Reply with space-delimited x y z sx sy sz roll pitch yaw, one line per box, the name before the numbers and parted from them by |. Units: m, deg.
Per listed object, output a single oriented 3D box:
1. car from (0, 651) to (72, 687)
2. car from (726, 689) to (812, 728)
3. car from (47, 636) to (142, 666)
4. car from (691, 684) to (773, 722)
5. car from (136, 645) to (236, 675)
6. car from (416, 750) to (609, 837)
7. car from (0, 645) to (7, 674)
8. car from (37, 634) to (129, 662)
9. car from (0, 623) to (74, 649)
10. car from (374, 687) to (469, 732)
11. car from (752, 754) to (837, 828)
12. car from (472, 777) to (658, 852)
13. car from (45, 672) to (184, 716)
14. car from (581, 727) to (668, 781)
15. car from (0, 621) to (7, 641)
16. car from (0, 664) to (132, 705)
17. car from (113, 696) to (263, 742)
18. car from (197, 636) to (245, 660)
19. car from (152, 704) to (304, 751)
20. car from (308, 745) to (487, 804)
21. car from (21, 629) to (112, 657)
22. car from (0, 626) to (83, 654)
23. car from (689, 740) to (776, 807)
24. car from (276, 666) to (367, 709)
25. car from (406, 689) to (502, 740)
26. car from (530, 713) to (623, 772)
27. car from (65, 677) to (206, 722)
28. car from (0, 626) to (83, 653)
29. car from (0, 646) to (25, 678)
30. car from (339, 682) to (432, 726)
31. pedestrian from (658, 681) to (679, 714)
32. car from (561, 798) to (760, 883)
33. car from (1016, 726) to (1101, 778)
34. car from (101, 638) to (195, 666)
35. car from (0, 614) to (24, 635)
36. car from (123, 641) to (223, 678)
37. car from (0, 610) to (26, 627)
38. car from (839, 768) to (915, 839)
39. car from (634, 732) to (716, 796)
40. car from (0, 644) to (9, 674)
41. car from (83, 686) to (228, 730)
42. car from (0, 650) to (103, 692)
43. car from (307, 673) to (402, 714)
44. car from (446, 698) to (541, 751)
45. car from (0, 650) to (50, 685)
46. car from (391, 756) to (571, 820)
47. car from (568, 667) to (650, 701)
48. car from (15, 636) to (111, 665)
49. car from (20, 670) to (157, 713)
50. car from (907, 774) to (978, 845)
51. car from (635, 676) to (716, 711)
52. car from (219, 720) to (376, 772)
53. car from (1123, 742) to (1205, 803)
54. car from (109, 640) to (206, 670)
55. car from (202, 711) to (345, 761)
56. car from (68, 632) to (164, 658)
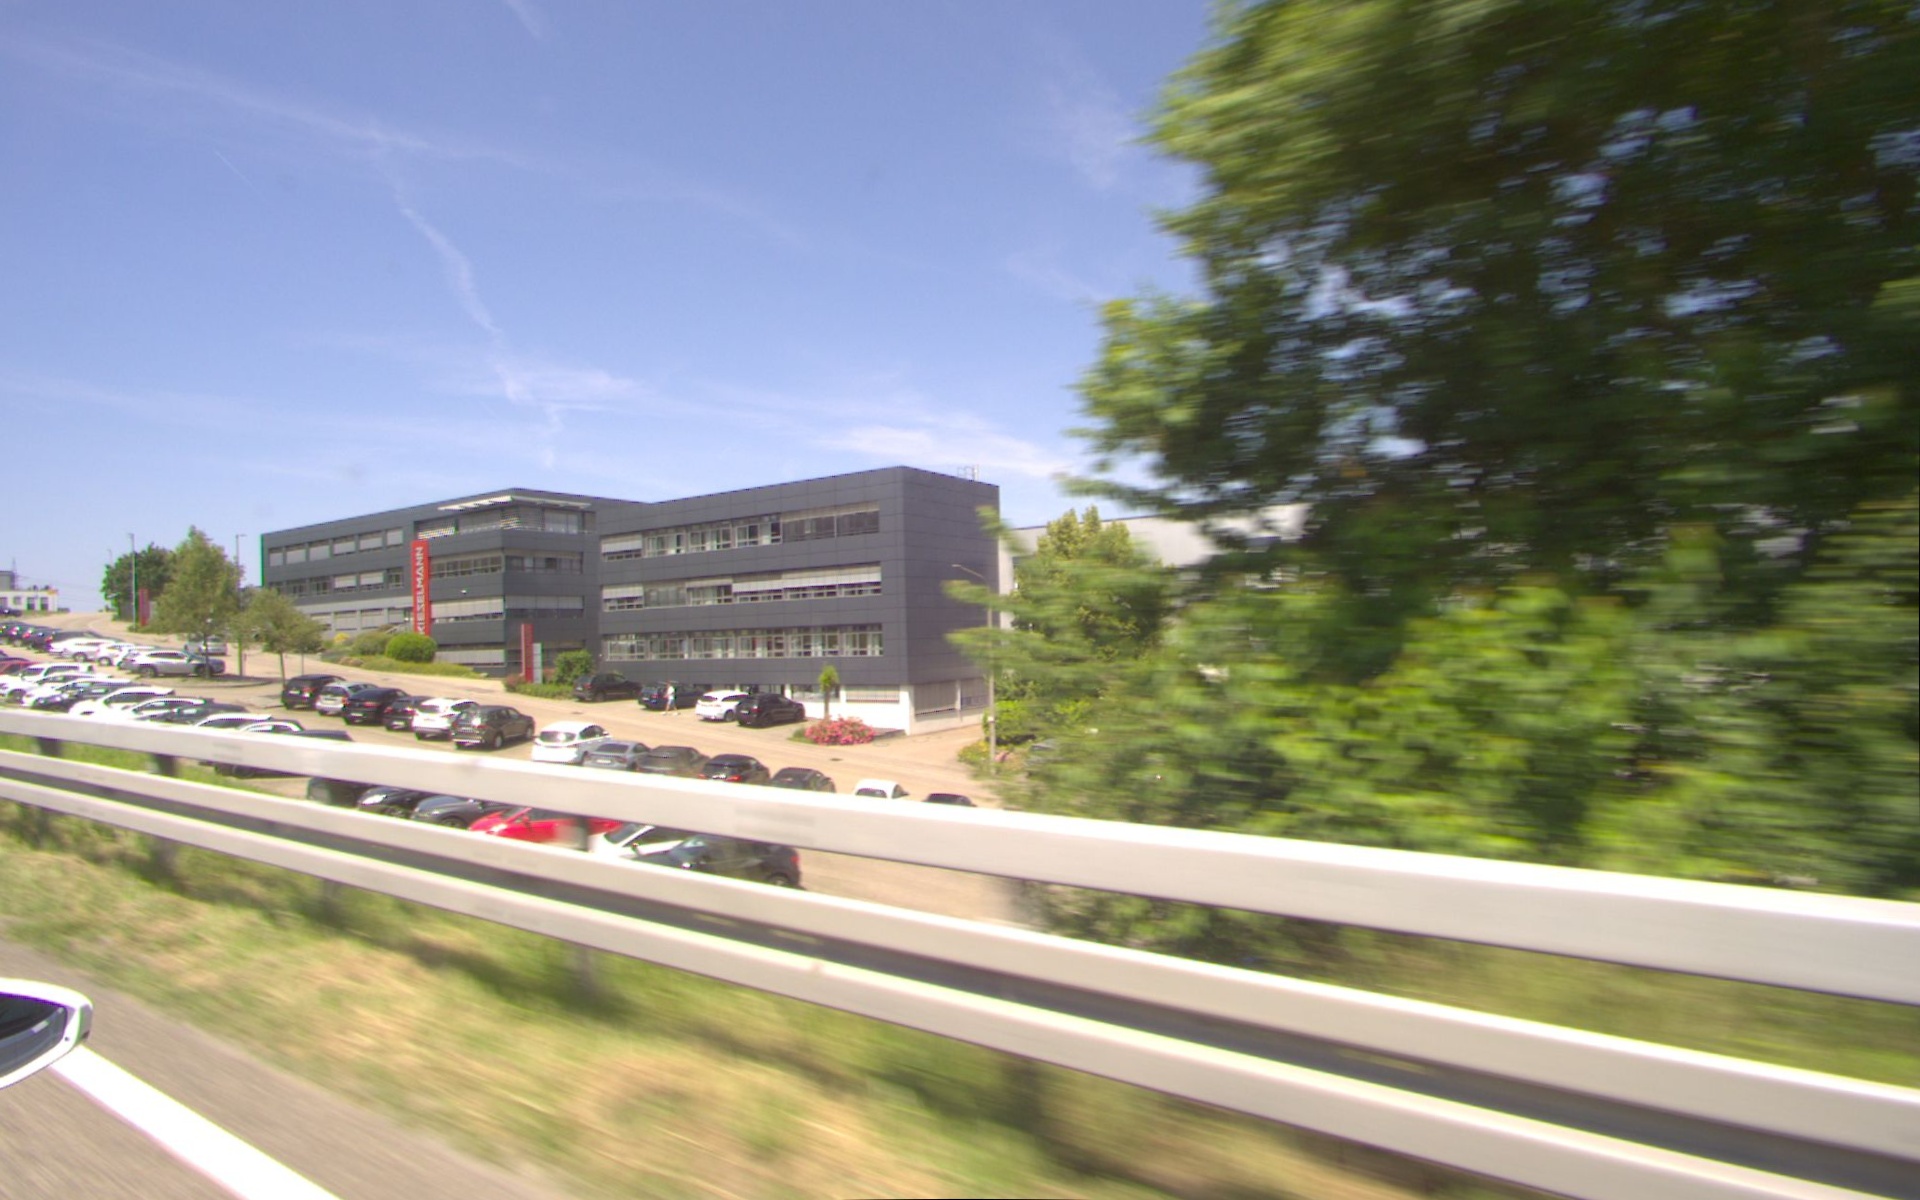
car | -48.355 3.499 50.922 1.852 1.705 4.380 4 -4 13
car | -10.151 5.736 53.524 1.795 1.593 4.559 3 1 35
car | -59.262 3.483 68.667 4.525 1.648 1.812 7 -5 -29
car | -12.473 5.643 55.125 1.792 1.593 4.567 2 0 29
car | -46.444 3.584 60.239 4.522 1.651 1.810 2 1 -30
car | -12.630 5.461 28.326 4.663 2.037 2.069 7 -5 -30
car | -58.584 3.330 58.144 1.851 1.705 4.383 4 -4 6
car | -63.146 3.461 72.208 4.525 1.648 1.812 7 -5 -29
car | -72.663 2.791 78.415 4.525 1.648 1.812 7 -5 -29
car | -25.205 5.080 47.046 1.785 1.533 4.587 4 -1 2
car | -5.420 6.262 33.302 1.755 1.560 4.412 4 -1 4
car | -10.434 5.718 26.687 4.342 1.577 1.981 6 -4 -21
car | -37.376 4.192 44.432 4.322 1.577 1.878 7 -5 -32
car | -12.892 5.896 38.759 1.756 1.396 4.160 4 -1 2
car | -83.837 2.484 84.562 4.531 1.649 1.808 5 -3 -35
car | -42.524 4.029 47.689 4.315 1.577 1.881 7 -4 -27
car | -30.374 4.703 39.583 4.318 1.473 1.810 7 -5 -29
car | -55.962 3.634 75.806 3.947 1.682 1.802 -1 -4 36
car | -27.602 4.841 37.950 4.318 1.411 1.810 7 -5 -29
car | -17.599 5.508 31.503 4.663 1.505 1.905 7 -5 -30
car | -65.713 3.181 73.741 4.525 1.648 1.812 7 -5 -29
car | -68.772 2.995 74.800 4.525 1.648 1.812 7 -5 -29
car | -8.033 6.124 35.754 1.755 1.556 4.412 4 -1 4
car | -32.816 4.456 51.598 1.785 1.650 4.240 4 1 2
car | -22.740 5.108 45.208 1.785 1.681 4.587 4 -1 2
car | -15.252 5.637 40.102 1.756 1.681 4.587 4 -1 2
car | -35.187 4.257 42.905 4.322 1.577 1.852 7 -5 -32
car | -70.396 3.039 76.624 4.525 1.648 1.812 7 -5 -29
car | -53.969 3.350 54.586 1.852 1.705 4.382 5 -4 -2
car | -27.360 4.931 47.899 1.785 1.533 4.587 4 -1 -1
pedestrian | -16.149 5.377 55.446 0.817 1.744 0.631 2 -4 35
car | -7.527 5.995 25.362 4.360 1.682 1.887 7 -5 -35
car | 4.318 6.483 43.182 1.794 1.593 4.565 2 -1 31
car | -53.101 3.409 65.609 4.520 1.498 1.809 -1 3 -30
car | -81.221 1.980 83.328 4.531 1.649 1.808 4 -3 -35
car | -48.727 3.722 62.092 4.527 1.650 1.808 7 4 -30
car | -100.472 1.903 104.117 4.511 1.649 1.816 2 -3 -21
car | -2.620 6.533 32.549 1.755 1.623 4.417 4 -4 4
car | -10.399 5.977 36.914 1.756 1.530 4.411 5 -1 -1
car | -56.112 3.215 55.893 1.852 1.705 4.382 5 -4 -2
car | -32.871 4.446 41.107 4.322 1.473 1.809 7 -5 -32
car | -45.387 3.483 49.378 4.407 1.705 1.876 7 -5 -34
car | -30.415 4.674 50.463 1.785 1.559 4.587 4 -1 2
car | -20.022 5.305 43.234 1.756 1.681 4.587 4 -1 2
car | -50.866 3.534 52.708 1.852 1.705 4.382 5 -4 -2
car | -14.446 5.671 30.255 4.663 1.582 1.951 7 -5 -30
car | -21.169 5.045 60.553 1.794 1.670 4.563 3 1 32
car | -62.081 3.517 69.437 4.525 1.648 1.812 7 -5 -29
car | -39.648 4.175 45.724 4.322 1.577 1.878 7 -5 -32
car | -0.465 6.378 30.934 1.755 1.461 4.417 4 -4 4
car | -16.439 5.380 58.119 1.792 1.593 4.567 3 0 29
car | -22.848 5.083 34.739 4.323 1.508 1.701 7 -5 -32
car | 8.317 6.924 40.572 1.794 1.593 4.563 2 1 31
car | -50.996 3.512 63.717 4.523 1.651 1.809 3 3 -30
car | -24.898 4.972 36.508 4.075 1.536 1.669 7 -5 -32
car | -56.283 2.989 66.868 4.516 1.541 1.812 2 2 -25
